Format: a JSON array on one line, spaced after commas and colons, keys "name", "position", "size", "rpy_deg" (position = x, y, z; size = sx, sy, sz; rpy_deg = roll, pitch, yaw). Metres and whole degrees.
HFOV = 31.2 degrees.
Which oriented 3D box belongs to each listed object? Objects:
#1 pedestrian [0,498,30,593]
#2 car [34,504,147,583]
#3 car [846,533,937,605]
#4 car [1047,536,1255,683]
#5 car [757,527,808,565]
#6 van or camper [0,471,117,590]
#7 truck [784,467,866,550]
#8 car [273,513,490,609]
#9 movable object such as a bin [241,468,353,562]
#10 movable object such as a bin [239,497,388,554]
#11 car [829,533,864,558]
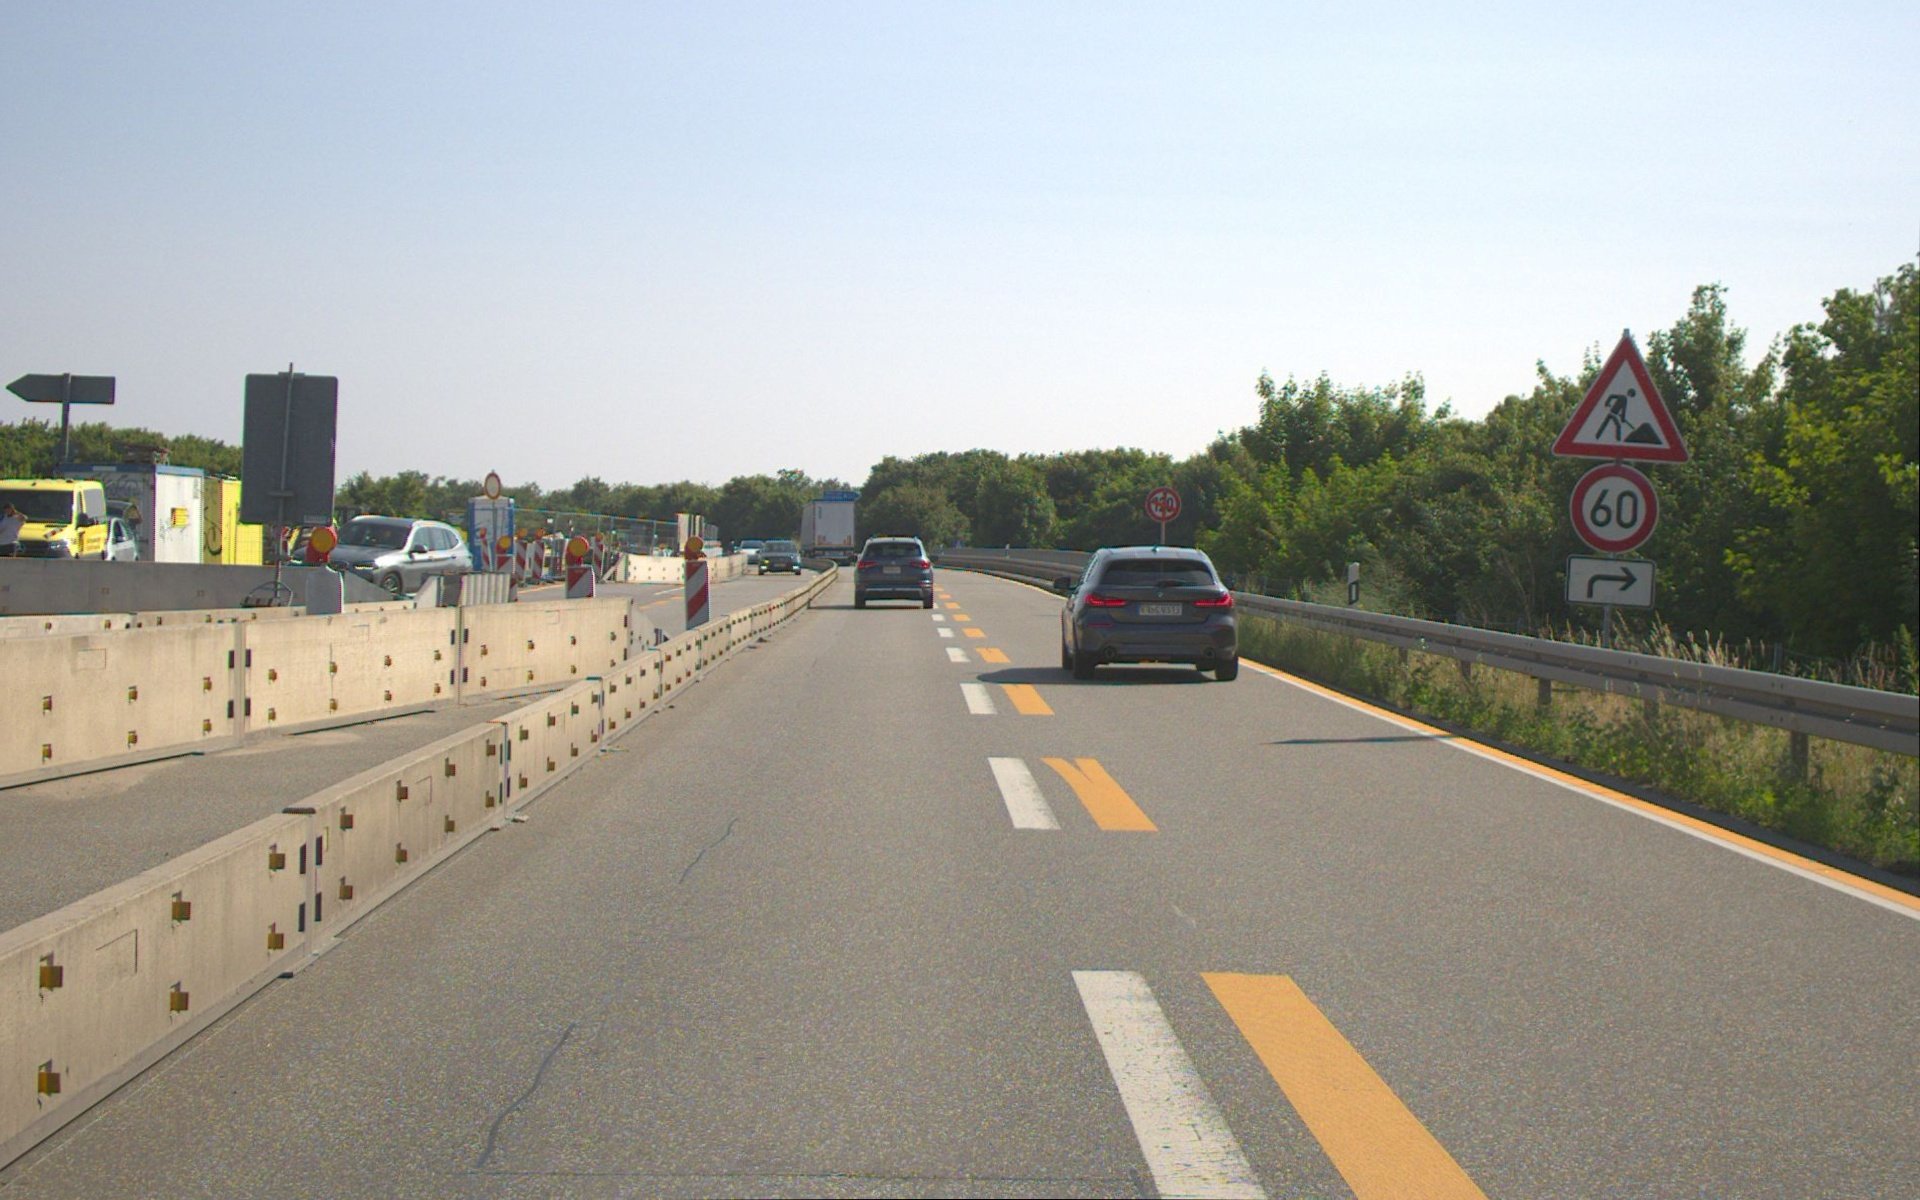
[{"name": "pedestrian", "position": [-18.286, -1.051, 66.068], "size": [0.740, 1.814, 0.797], "rpy_deg": [1, 1, -12]}, {"name": "car", "position": [-19.831, -1.298, 78.580], "size": [1.687, 1.680, 4.459], "rpy_deg": [2, 1, -4]}, {"name": "car", "position": [-1.533, -0.730, 78.260], "size": [1.993, 1.561, 4.000], "rpy_deg": [1, 1, 0]}, {"name": "car", "position": [2.081, 0.064, 38.462], "size": [1.920, 1.488, 4.001], "rpy_deg": [2, 1, -2]}, {"name": "car", "position": [-7.398, -2.275, 143.520], "size": [1.859, 1.468, 4.685], "rpy_deg": [2, 1, 0]}, {"name": "van or camper", "position": [-19.335, -1.487, 72.947], "size": [1.993, 2.369, 6.203], "rpy_deg": [1, 1, -7]}, {"name": "truck", "position": [-8.568, -5.757, 216.066], "size": [3.760, 4.894, 14.140], "rpy_deg": [2, 1, -7]}, {"name": "car", "position": [-10.483, -0.716, 62.695], "size": [1.995, 1.616, 4.844], "rpy_deg": [2, 1, 16]}, {"name": "movable object such as a bin", "position": [-19.838, -2.541, 103.020], "size": [2.031, 2.706, 5.107], "rpy_deg": [1, 1, 4]}, {"name": "movable object such as a bin", "position": [-25.868, -2.984, 137.524], "size": [5.397, 2.109, 2.236], "rpy_deg": [2, 1, 18]}, {"name": "car", "position": [-8.108, -3.926, 245.732], "size": [1.993, 1.682, 4.001], "rpy_deg": [2, 1, -8]}]
